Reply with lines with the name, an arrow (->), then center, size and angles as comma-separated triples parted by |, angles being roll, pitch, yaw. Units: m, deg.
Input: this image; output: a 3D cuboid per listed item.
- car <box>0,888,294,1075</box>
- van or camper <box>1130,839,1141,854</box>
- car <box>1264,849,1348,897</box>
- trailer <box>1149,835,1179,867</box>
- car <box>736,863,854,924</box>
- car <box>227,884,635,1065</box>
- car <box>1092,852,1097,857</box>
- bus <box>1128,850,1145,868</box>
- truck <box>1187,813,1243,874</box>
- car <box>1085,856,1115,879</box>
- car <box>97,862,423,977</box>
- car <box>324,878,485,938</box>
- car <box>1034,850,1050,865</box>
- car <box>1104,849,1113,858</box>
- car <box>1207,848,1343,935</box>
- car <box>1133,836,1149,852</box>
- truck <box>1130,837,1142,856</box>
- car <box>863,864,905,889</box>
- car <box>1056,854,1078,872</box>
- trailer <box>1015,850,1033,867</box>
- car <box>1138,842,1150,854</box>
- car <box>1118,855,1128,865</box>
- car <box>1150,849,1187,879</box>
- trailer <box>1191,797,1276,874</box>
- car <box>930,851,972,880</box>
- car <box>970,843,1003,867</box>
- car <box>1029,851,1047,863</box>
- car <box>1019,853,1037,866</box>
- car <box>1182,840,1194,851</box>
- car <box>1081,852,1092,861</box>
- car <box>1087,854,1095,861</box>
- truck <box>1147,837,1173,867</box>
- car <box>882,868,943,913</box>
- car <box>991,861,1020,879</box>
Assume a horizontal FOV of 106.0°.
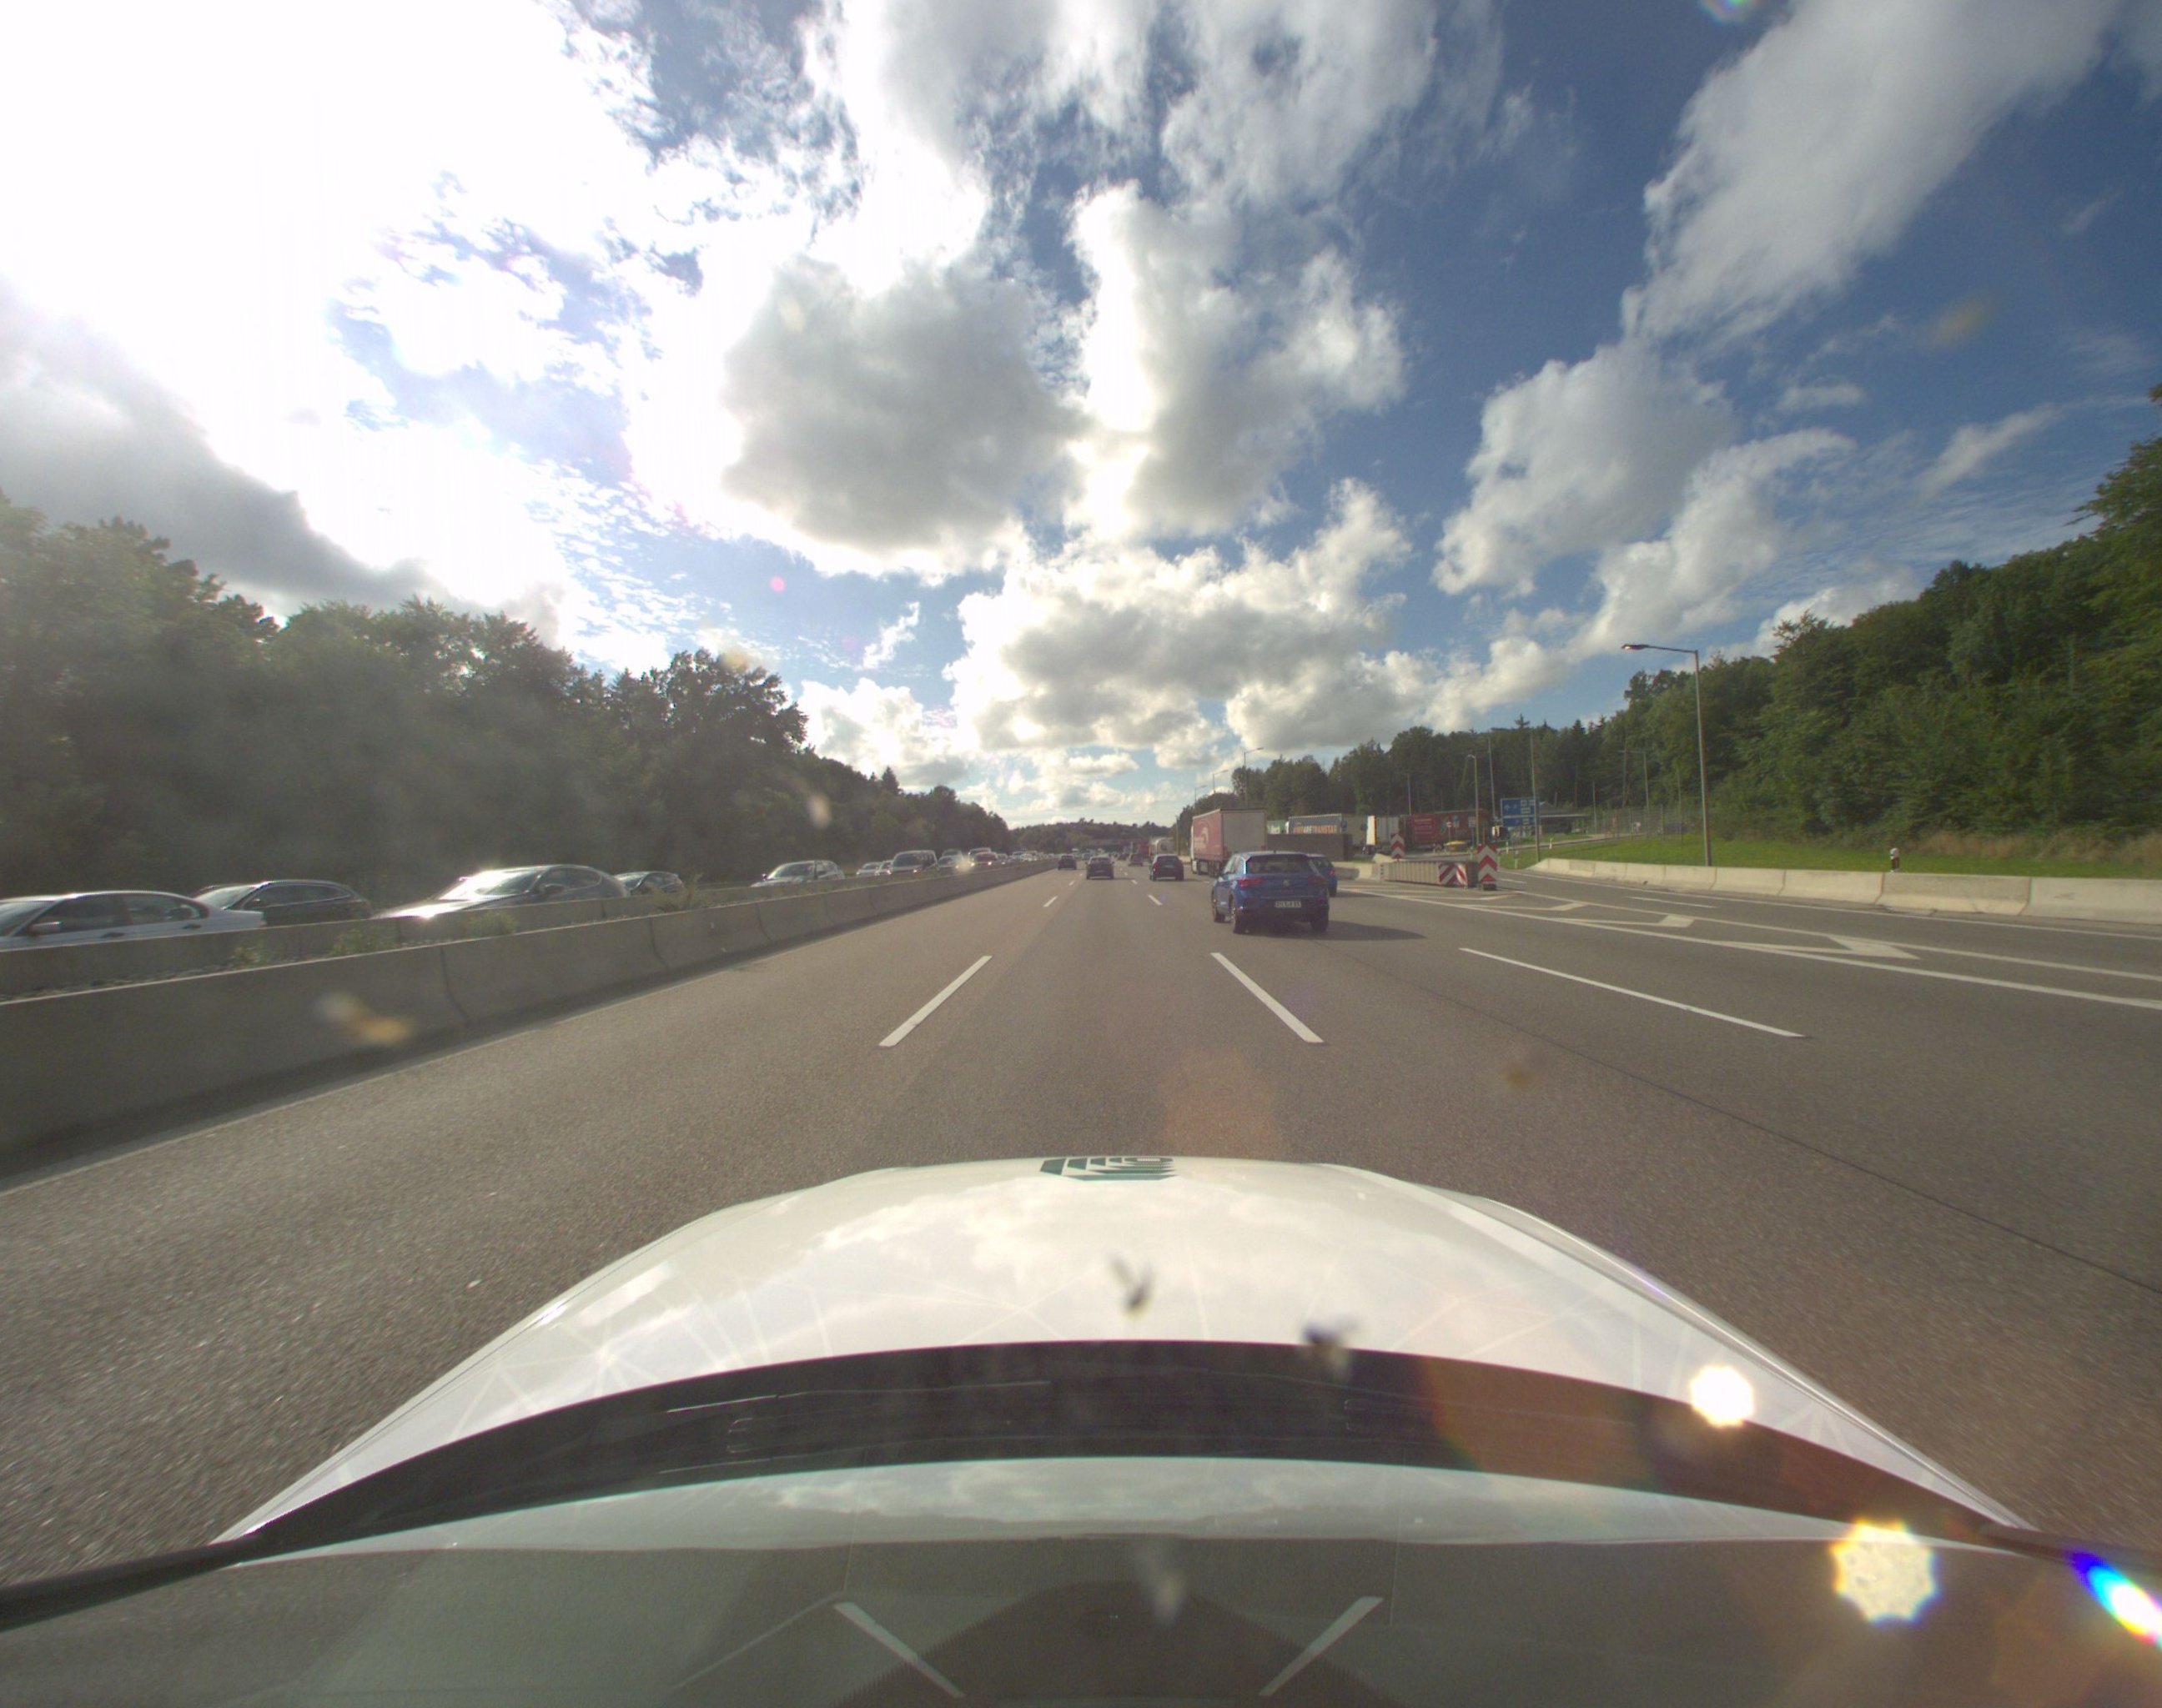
car -> -13.070, 1.501, 10.180 | 1.985, 2.014, 4.461 | -1, -1, 3
van or camper -> 12.067, -1.653, 181.757 | 2.342, 3.144, 5.714 | -1, -2, 3
car -> 7.890, 0.660, 28.959 | 1.710, 1.511, 4.299 | -2, -1, -1
trailer -> 11.237, -0.319, 111.513 | 3.025, 4.016, 12.246 | -1, -1, 1
car -> -8.921, 1.212, 25.867 | 1.985, 1.759, 4.461 | -1, -2, 3
car -> -8.588, 1.451, 11.447 | 1.985, 1.905, 4.461 | -1, -1, 3
car -> 4.203, 0.209, 251.462 | 1.617, 1.470, 3.816 | 0, -1, 2
bus -> 6.686, 0.621, 98.743 | 1.986, 2.014, 4.001 | -1, -2, 2
truck -> 9.409, -0.647, 57.849 | 3.069, 4.064, 6.070 | -1, -2, 1
car -> 1.180, 0.857, 51.692 | 1.729, 1.365, 3.998 | 0, -1, -1
car -> -16.399, 1.226, 16.710 | 1.985, 2.014, 4.461 | -1, -2, 3
car -> -24.549, 1.885, 29.823 | 1.985, 2.014, 4.461 | -1, -2, 3
car -> -5.702, 0.579, 120.424 | 1.986, 2.014, 4.677 | -1, -2, 1
car -> 6.574, -0.175, 191.978 | 1.986, 2.014, 4.001 | -2, -2, 1
car -> 3.822, 0.657, 16.851 | 1.916, 1.541, 4.649 | 0, 0, 3
car -> 11.541, -1.889, 157.305 | 2.855, 2.992, 5.152 | -1, -2, 3
truck -> 11.703, -1.624, 174.596 | 2.348, 3.573, 11.273 | -1, -2, 3
car -> -15.411, 1.740, 63.985 | 1.985, 1.762, 4.462 | -1, 0, 3
car -> -1.434, 0.959, 85.003 | 1.986, 1.776, 4.002 | -2, 0, 2
trailer -> -9.568, 0.712, 136.911 | 2.271, 2.786, 8.541 | -1, 0, 1
car -> 11.357, -1.118, 146.805 | 1.986, 2.014, 4.001 | -1, -2, 1
car -> 8.766, 1.222, 168.522 | 1.986, 2.014, 4.001 | 0, -1, 1
car -> 4.977, 0.580, 46.686 | 1.792, 1.644, 4.002 | 0, -1, 2
trailer -> 9.212, -0.848, 51.013 | 3.027, 4.035, 13.892 | -1, -2, 2
car -> -8.560, 0.777, 53.846 | 1.850, 1.763, 4.461 | -1, -1, 3
car -> -7.247, 0.068, 62.700 | 1.870, 1.762, 5.293 | -1, 0, 0
car -> -5.816, 0.338, 110.539 | 1.985, 1.572, 5.333 | 1, 0, 3
car -> -6.613, 0.730, 101.925 | 1.758, 1.572, 4.360 | -1, 0, 3
car -> 22.326, -1.759, 170.335 | 1.986, 2.014, 4.001 | -3, -1, 1
car -> 1.265, 0.572, 183.567 | 2.146, 1.776, 4.001 | 0, -1, 2
car -> 2.513, 0.908, 211.612 | 1.987, 2.013, 3.998 | -1, 0, -1
truck -> 11.391, -0.198, 117.734 | 3.035, 4.160, 7.126 | -1, -1, 1
car -> -8.037, 1.729, 39.279 | 1.809, 2.014, 4.454 | -1, -2, 3
car -> -7.097, 1.452, 76.904 | 1.985, 1.572, 5.211 | -1, 0, 3
